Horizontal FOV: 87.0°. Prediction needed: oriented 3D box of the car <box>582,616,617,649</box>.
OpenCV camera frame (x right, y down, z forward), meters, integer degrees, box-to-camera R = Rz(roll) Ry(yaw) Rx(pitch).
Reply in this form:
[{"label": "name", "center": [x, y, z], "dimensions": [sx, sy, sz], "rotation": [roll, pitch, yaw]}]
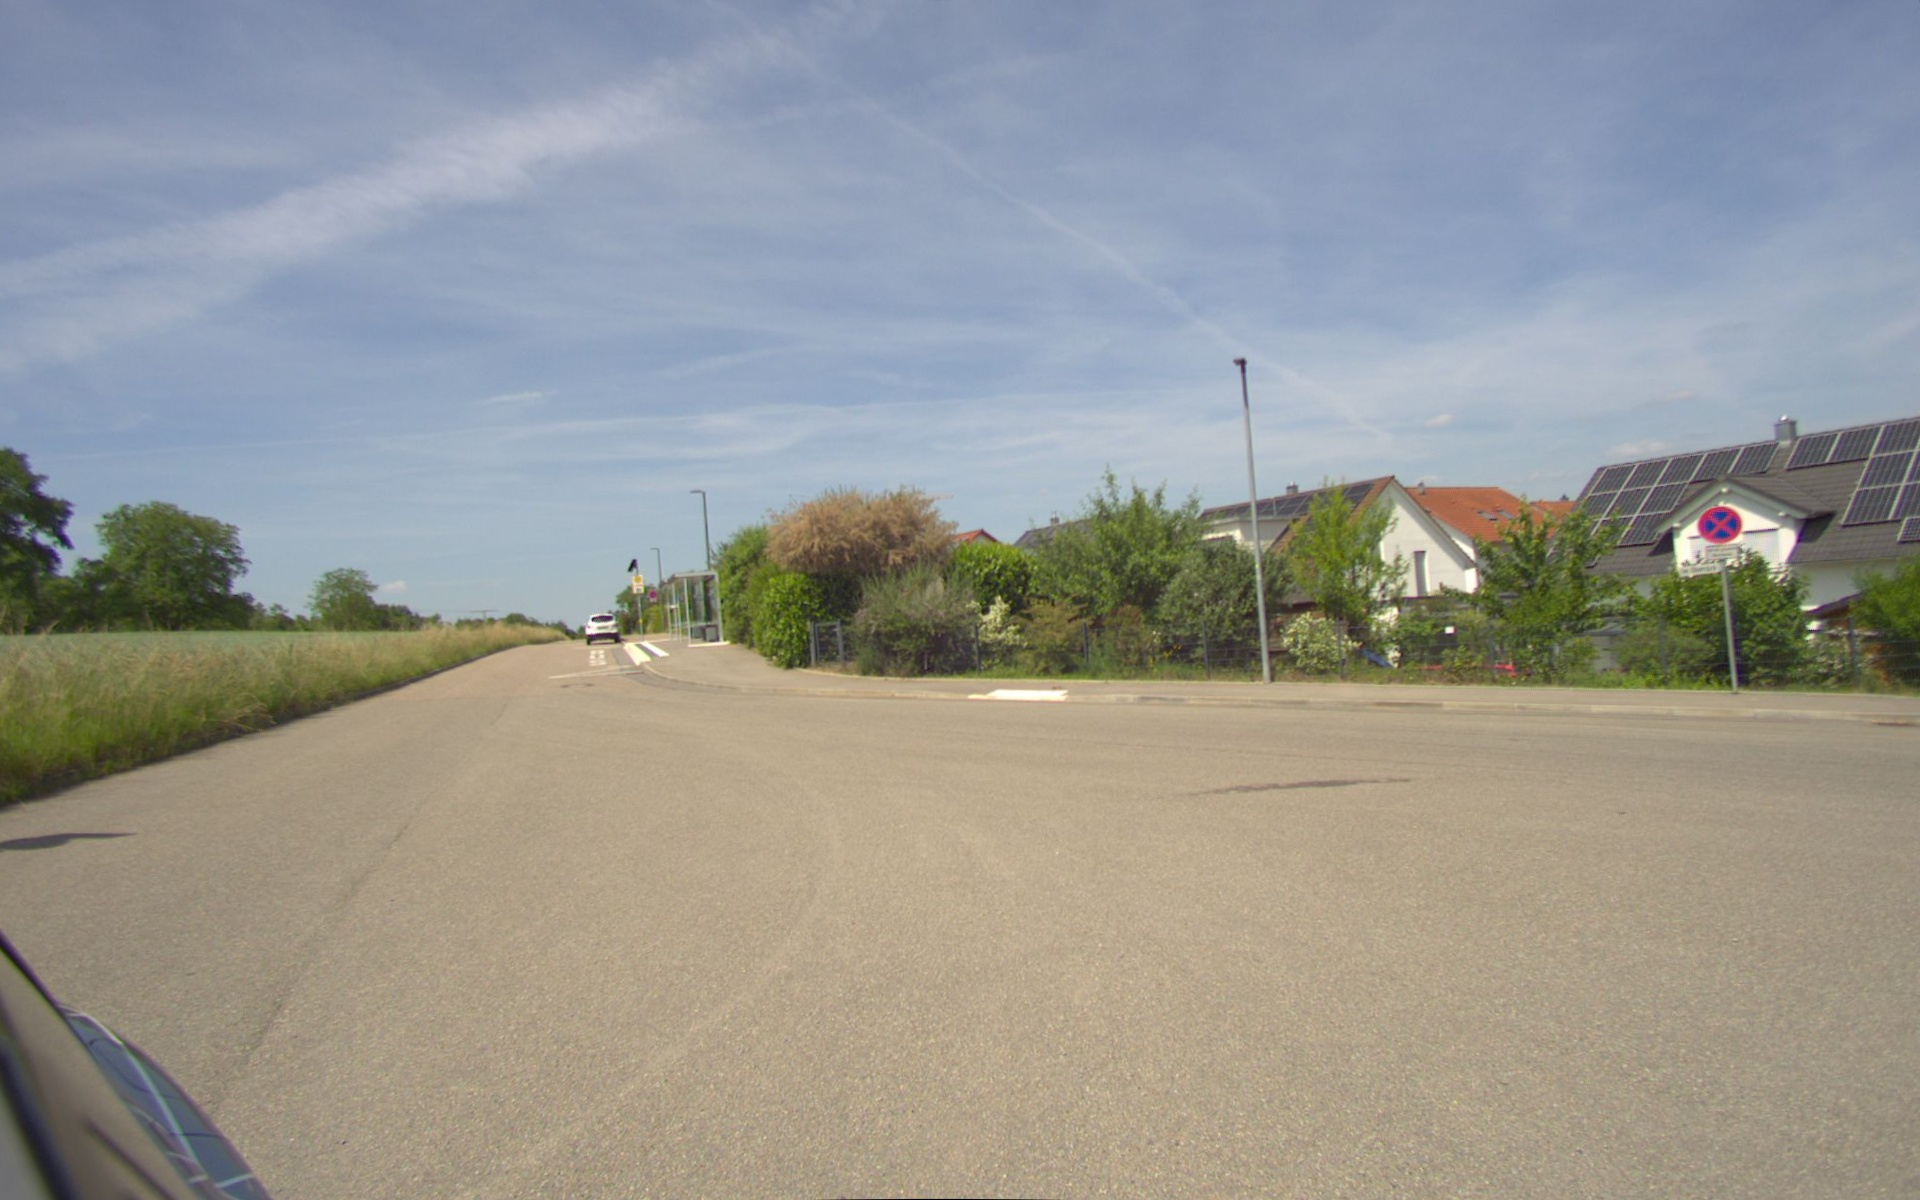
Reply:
[{"label": "car", "center": [-20.188, 1.805, 56.550], "dimensions": [1.710, 1.645, 4.366], "rotation": [-3, 0, -21]}]
